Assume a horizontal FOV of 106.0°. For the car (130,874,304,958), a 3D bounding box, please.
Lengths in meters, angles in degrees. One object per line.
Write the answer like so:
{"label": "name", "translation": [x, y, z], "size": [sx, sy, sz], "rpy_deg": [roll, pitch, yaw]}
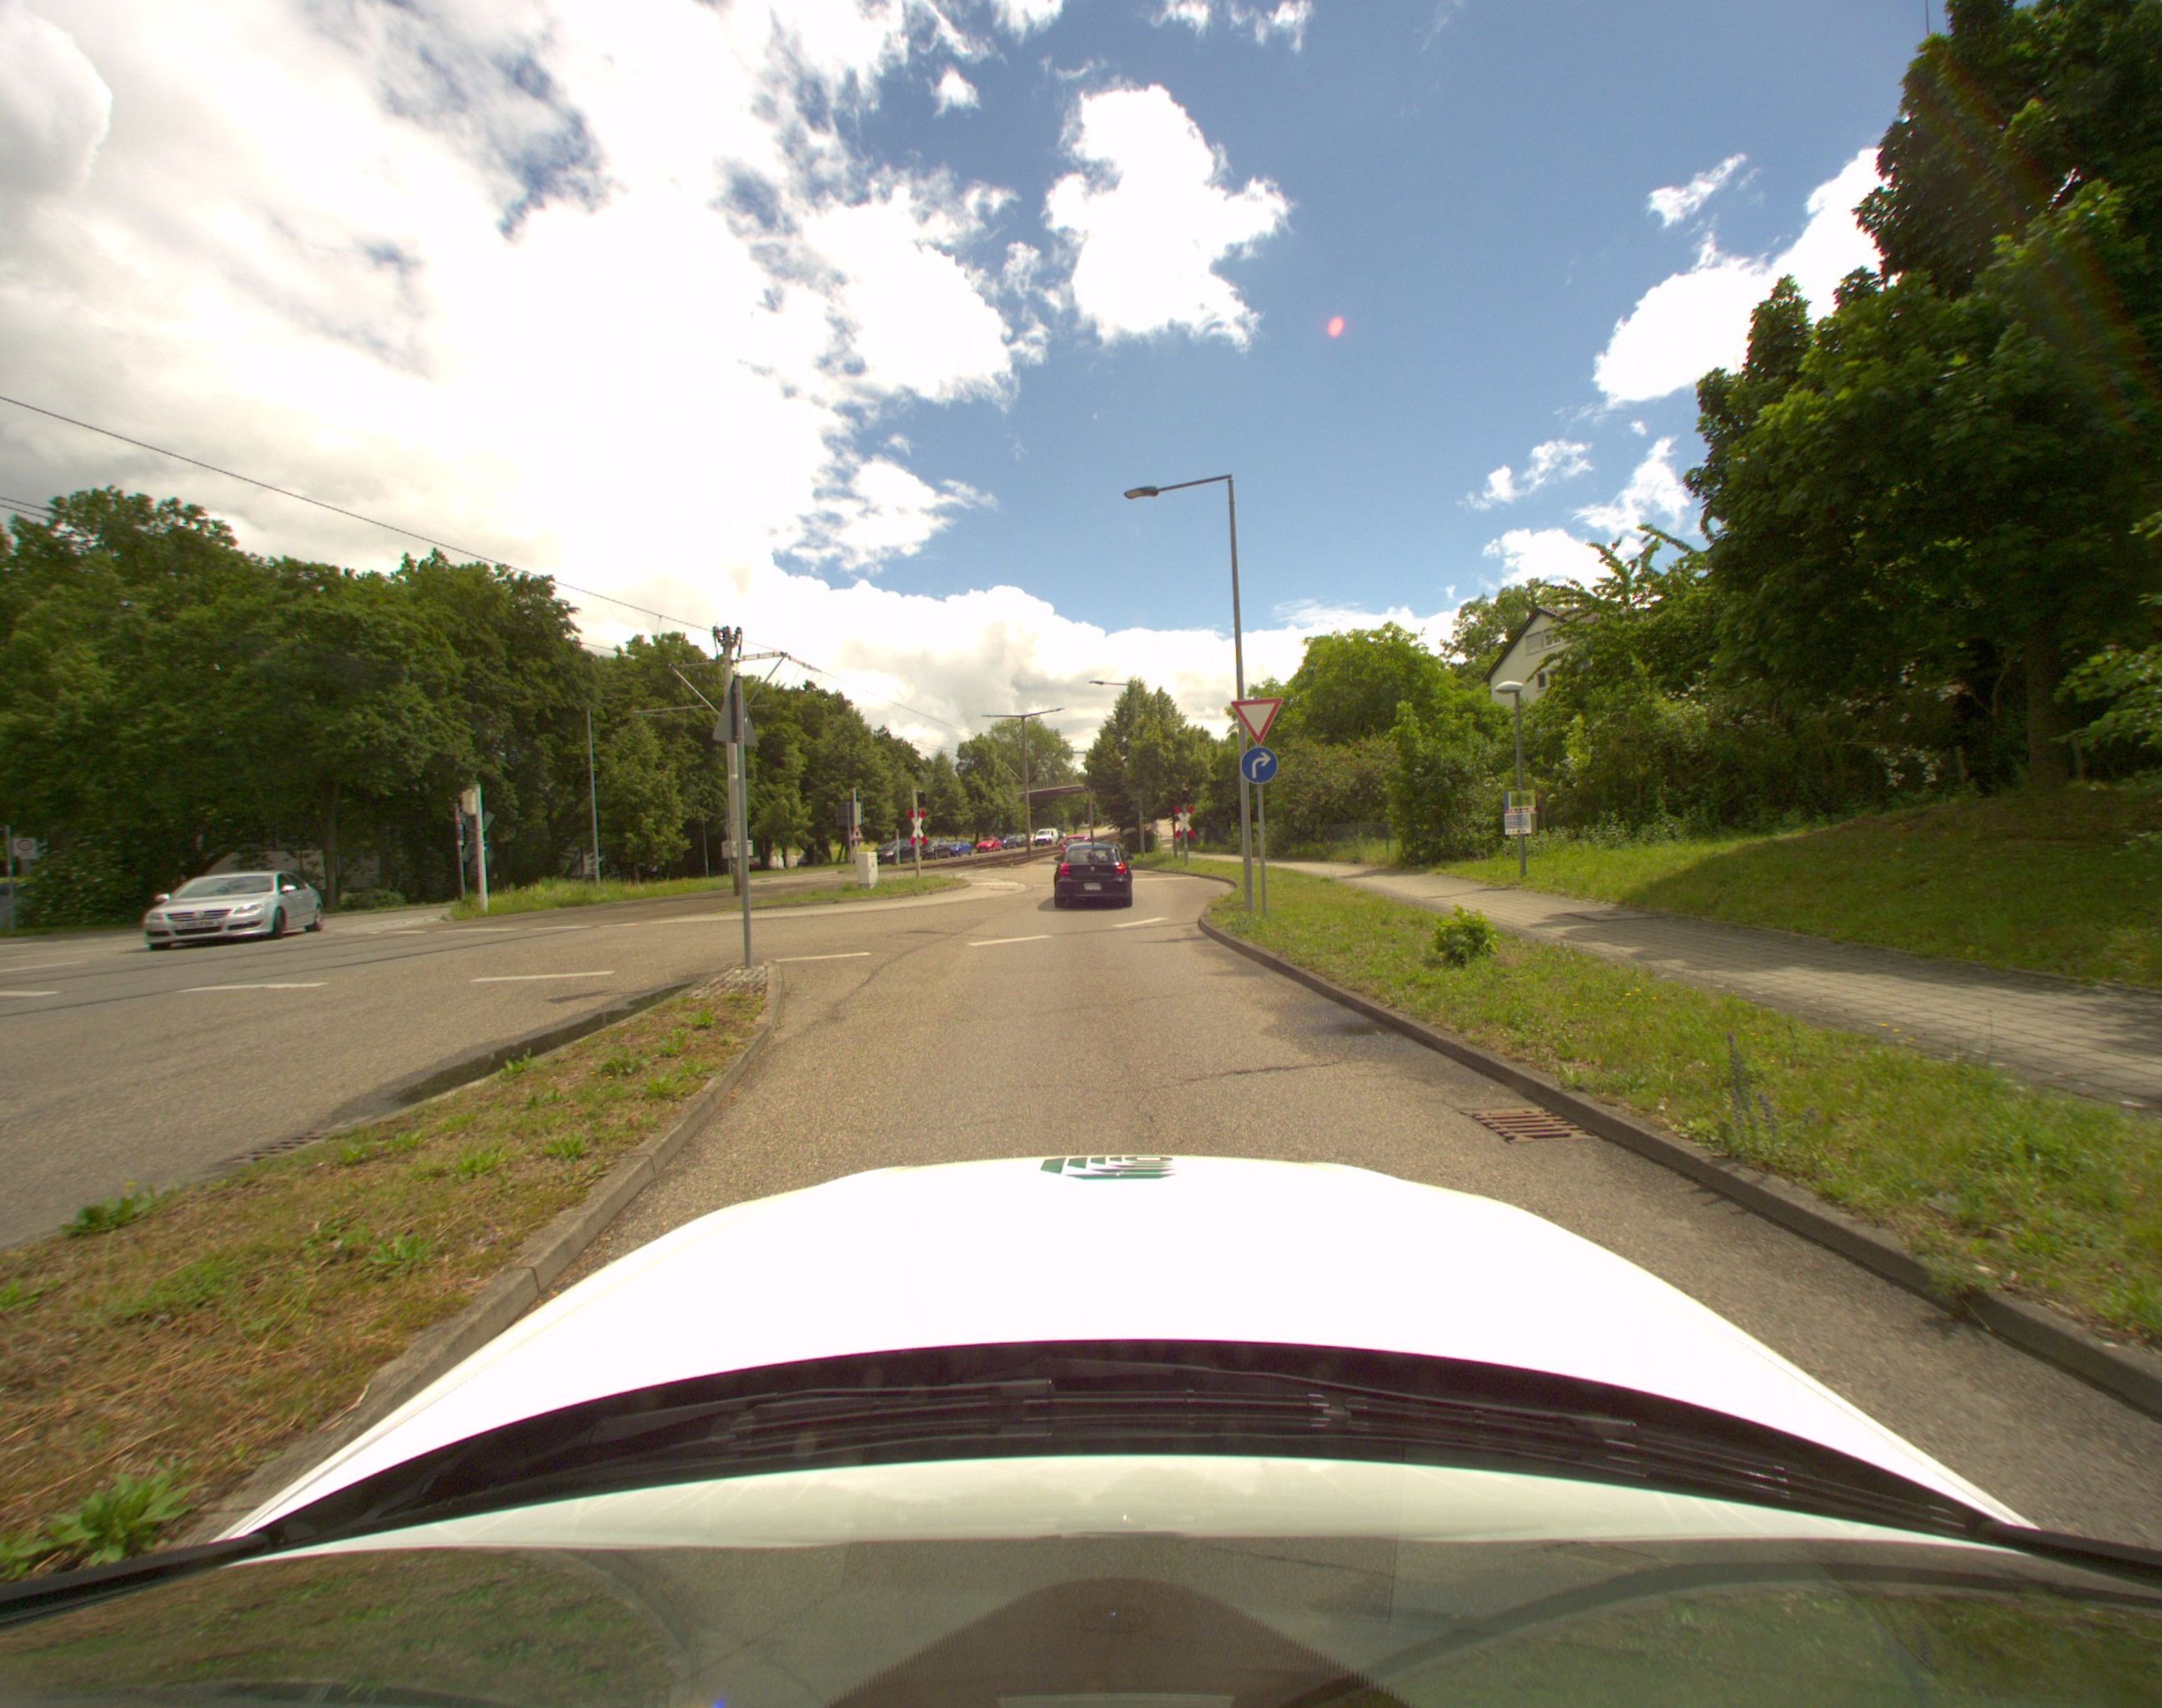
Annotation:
{"label": "car", "translation": [-17.577, 1.172, 16.769], "size": [1.893, 1.350, 3.786], "rpy_deg": [-4, 2, -39]}

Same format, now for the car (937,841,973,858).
{"label": "car", "translation": [-10.742, -0.384, 69.518], "size": [1.793, 1.254, 3.582], "rpy_deg": [-2, 2, 13]}

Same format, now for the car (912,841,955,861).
{"label": "car", "translation": [-11.617, -0.229, 64.365], "size": [1.865, 1.425, 3.546], "rpy_deg": [-2, 1, 15]}

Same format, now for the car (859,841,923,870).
{"label": "car", "translation": [-11.763, 0.070, 50.711], "size": [1.979, 1.597, 4.438], "rpy_deg": [-2, 1, 15]}

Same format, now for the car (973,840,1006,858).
{"label": "car", "translation": [-8.914, -0.489, 79.485], "size": [1.899, 1.561, 4.015], "rpy_deg": [-2, 1, 13]}

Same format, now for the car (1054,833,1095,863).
{"label": "car", "translation": [-0.381, -0.310, 42.721], "size": [1.763, 1.432, 3.472], "rpy_deg": [-3, 0, -6]}

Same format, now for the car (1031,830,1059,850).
{"label": "car", "translation": [-3.929, -1.552, 90.064], "size": [1.980, 2.013, 4.014], "rpy_deg": [-2, 1, 12]}

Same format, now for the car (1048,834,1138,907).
{"label": "car", "translation": [0.223, 0.361, 19.067], "size": [1.810, 1.421, 3.998], "rpy_deg": [-3, 0, -1]}
